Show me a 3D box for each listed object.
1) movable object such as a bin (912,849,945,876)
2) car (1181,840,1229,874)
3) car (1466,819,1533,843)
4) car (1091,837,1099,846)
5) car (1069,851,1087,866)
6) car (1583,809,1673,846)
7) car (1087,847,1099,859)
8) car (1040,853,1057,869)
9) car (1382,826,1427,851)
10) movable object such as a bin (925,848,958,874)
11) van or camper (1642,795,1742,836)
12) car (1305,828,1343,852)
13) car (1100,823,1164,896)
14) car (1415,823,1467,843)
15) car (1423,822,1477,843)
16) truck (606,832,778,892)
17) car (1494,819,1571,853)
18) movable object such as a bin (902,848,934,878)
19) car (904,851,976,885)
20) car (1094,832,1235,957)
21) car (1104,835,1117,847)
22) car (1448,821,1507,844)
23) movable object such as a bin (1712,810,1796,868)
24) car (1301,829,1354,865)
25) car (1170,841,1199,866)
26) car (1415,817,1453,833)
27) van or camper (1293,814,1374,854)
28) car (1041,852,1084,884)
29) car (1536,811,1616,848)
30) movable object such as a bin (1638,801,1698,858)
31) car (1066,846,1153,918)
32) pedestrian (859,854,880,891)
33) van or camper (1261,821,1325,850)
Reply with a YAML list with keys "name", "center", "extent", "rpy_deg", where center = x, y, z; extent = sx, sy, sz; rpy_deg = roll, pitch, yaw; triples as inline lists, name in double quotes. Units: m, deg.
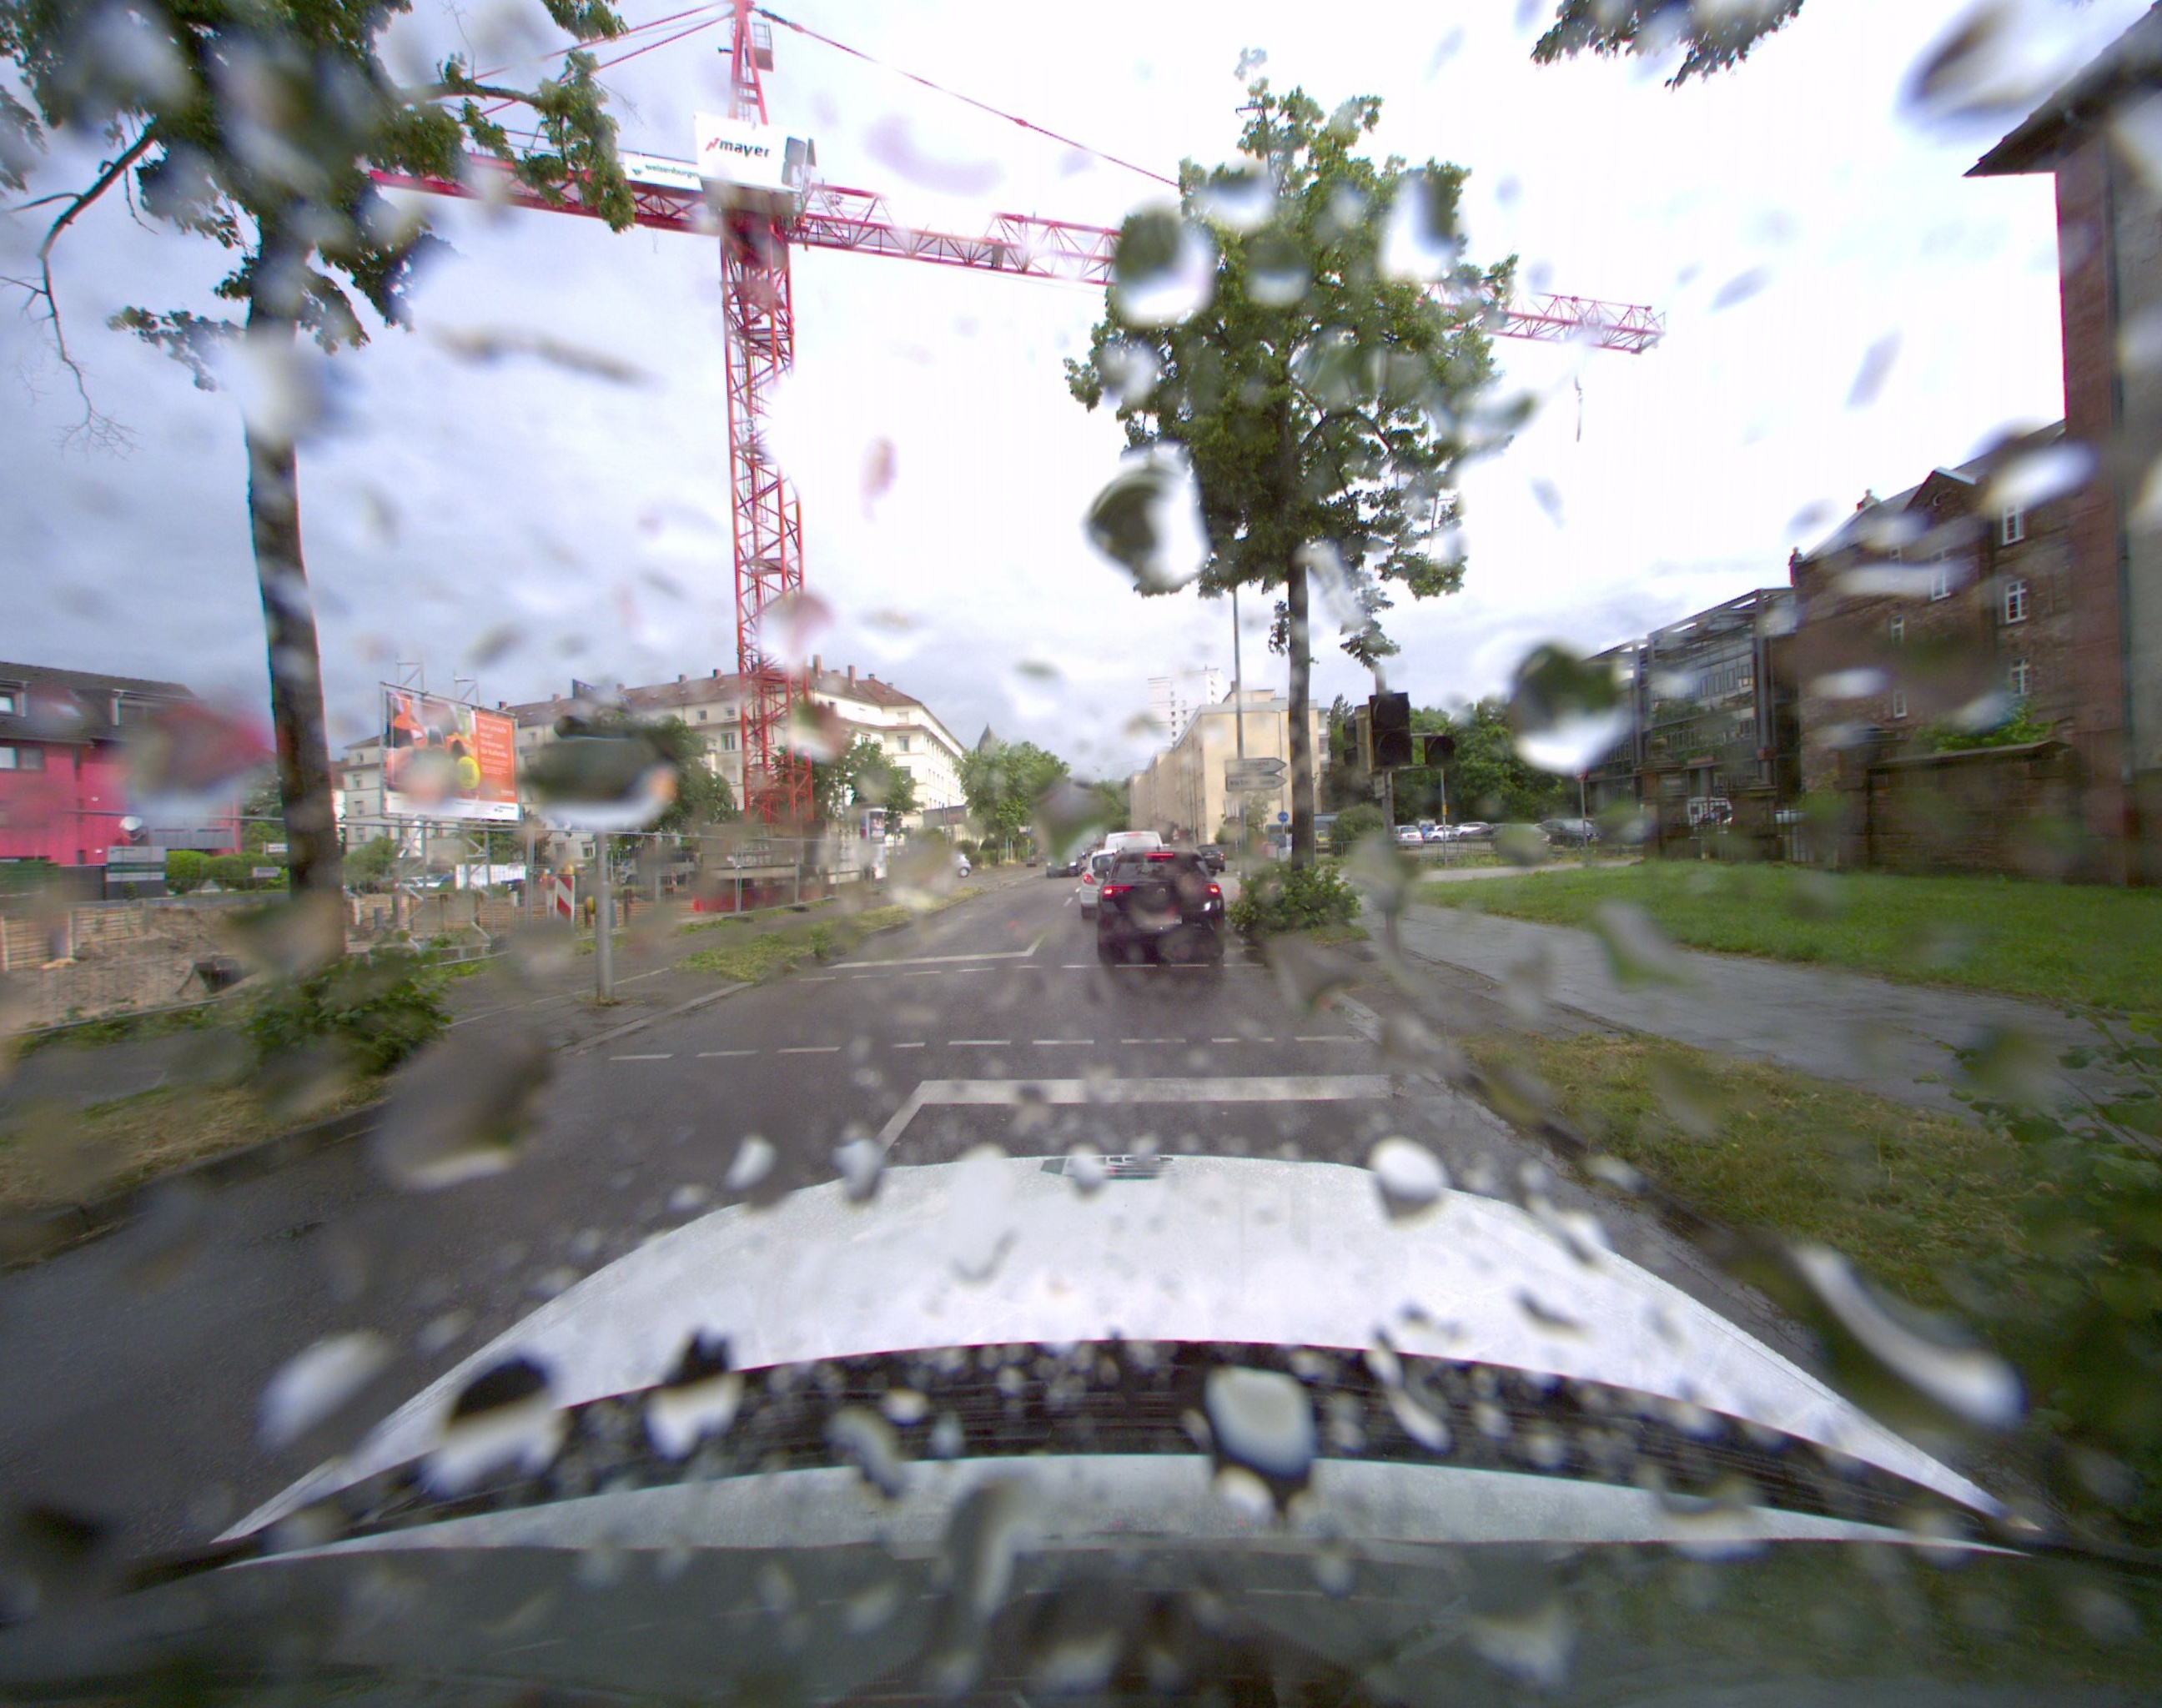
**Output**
- name: "movable object such as a bin"
  center: [-10.352, 0.562, 55.395]
  extent: [1.524, 1.656, 1.536]
  rpy_deg: [-3, 1, 21]
- name: "car"
  center: [6.330, 0.113, 42.067]
  extent: [1.768, 1.539, 4.379]
  rpy_deg: [-5, 1, 1]
- name: "car"
  center: [30.314, -1.659, 59.013]
  extent: [3.957, 1.465, 1.674]
  rpy_deg: [-3, 0, 3]
- name: "car"
  center: [3.083, -2.857, 184.564]
  extent: [1.660, 1.837, 4.000]
  rpy_deg: [-3, 1, 0]
- name: "car"
  center: [-0.322, 0.563, 97.620]
  extent: [1.833, 1.607, 4.004]
  rpy_deg: [-4, 0, 3]
- name: "car"
  center: [27.737, -1.328, 41.487]
  extent: [1.845, 1.679, 4.429]
  rpy_deg: [-3, 1, 4]
- name: "car"
  center: [1.919, -0.166, 128.321]
  extent: [1.733, 1.607, 3.679]
  rpy_deg: [-4, 0, 3]
- name: "car"
  center: [-3.298, 0.683, 82.495]
  extent: [1.582, 1.505, 4.061]
  rpy_deg: [-4, 1, -2]
- name: "car"
  center: [20.896, -1.009, 52.788]
  extent: [1.641, 1.486, 3.724]
  rpy_deg: [-3, 1, 5]
- name: "movable object such as a bin"
  center: [-9.755, 0.497, 56.942]
  extent: [1.524, 1.674, 1.675]
  rpy_deg: [-3, 1, 21]
- name: "van or camper"
  center: [39.795, -2.496, 53.120]
  extent: [4.768, 2.486, 2.259]
  rpy_deg: [-1, 0, 1]
- name: "car"
  center: [15.905, -0.916, 53.435]
  extent: [1.604, 1.448, 3.420]
  rpy_deg: [-3, 1, 3]
- name: "car"
  center: [1.625, 0.162, 25.500]
  extent: [1.828, 2.103, 4.004]
  rpy_deg: [-1, 0, 4]
- name: "car"
  center: [30.576, -1.789, 69.289]
  extent: [3.649, 1.486, 1.642]
  rpy_deg: [-3, 0, 5]
- name: "car"
  center: [30.293, -1.765, 66.869]
  extent: [3.649, 1.486, 1.642]
  rpy_deg: [-3, 0, 5]
- name: "truck"
  center: [-24.736, 0.502, 51.855]
  extent: [9.732, 3.184, 3.811]
  rpy_deg: [-3, 0, 18]
- name: "car"
  center: [22.677, -0.910, 41.069]
  extent: [1.819, 1.527, 4.432]
  rpy_deg: [-3, 1, 7]
- name: "movable object such as a bin"
  center: [-10.768, 0.594, 53.865]
  extent: [1.524, 1.824, 1.270]
  rpy_deg: [-3, 1, 21]
- name: "car"
  center: [-8.547, 0.857, 49.334]
  extent: [3.999, 1.637, 1.884]
  rpy_deg: [-5, -1, -18]
- name: "car"
  center: [1.196, 0.547, 12.919]
  extent: [1.866, 1.645, 4.064]
  rpy_deg: [-1, 0, 2]
- name: "car"
  center: [4.448, -1.984, 121.766]
  extent: [1.833, 1.607, 3.679]
  rpy_deg: [-4, 0, 3]
- name: "car"
  center: [29.900, -1.636, 61.491]
  extent: [3.649, 1.486, 1.642]
  rpy_deg: [-3, 0, 5]
- name: "movable object such as a bin"
  center: [18.375, -0.412, 22.280]
  extent: [1.101, 1.457, 1.392]
  rpy_deg: [-4, 1, 3]
- name: "car"
  center: [13.392, -0.405, 44.463]
  extent: [1.795, 1.749, 4.244]
  rpy_deg: [-3, 1, 5]
- name: "car"
  center: [6.778, 0.002, 53.613]
  extent: [1.748, 1.528, 4.006]
  rpy_deg: [1, -1, 6]
- name: "car"
  center: [35.745, -2.910, 82.558]
  extent: [3.209, 1.397, 1.511]
  rpy_deg: [-3, 0, 5]
- name: "van or camper"
  center: [17.629, -1.394, 57.120]
  extent: [4.977, 2.554, 2.177]
  rpy_deg: [-2, 0, 3]
- name: "car"
  center: [-0.925, 0.693, 42.387]
  extent: [1.805, 1.540, 3.986]
  rpy_deg: [-2, 0, 4]
- name: "car"
  center: [25.089, -1.205, 41.449]
  extent: [1.843, 1.679, 4.433]
  rpy_deg: [-3, 1, 8]
- name: "movable object such as a bin"
  center: [15.968, -0.660, 22.168]
  extent: [0.796, 1.457, 1.098]
  rpy_deg: [-4, 1, 3]
- name: "car"
  center: [0.684, 0.596, 19.196]
  extent: [1.806, 1.503, 4.002]
  rpy_deg: [-1, 0, 2]
- name: "pedestrian"
  center: [-9.329, 0.812, 35.931]
  extent: [0.727, 1.629, 0.677]
  rpy_deg: [0, -1, -35]
- name: "van or camper"
  center: [17.479, -1.523, 67.436]
  extent: [4.736, 2.131, 2.325]
  rpy_deg: [-2, 1, 5]
